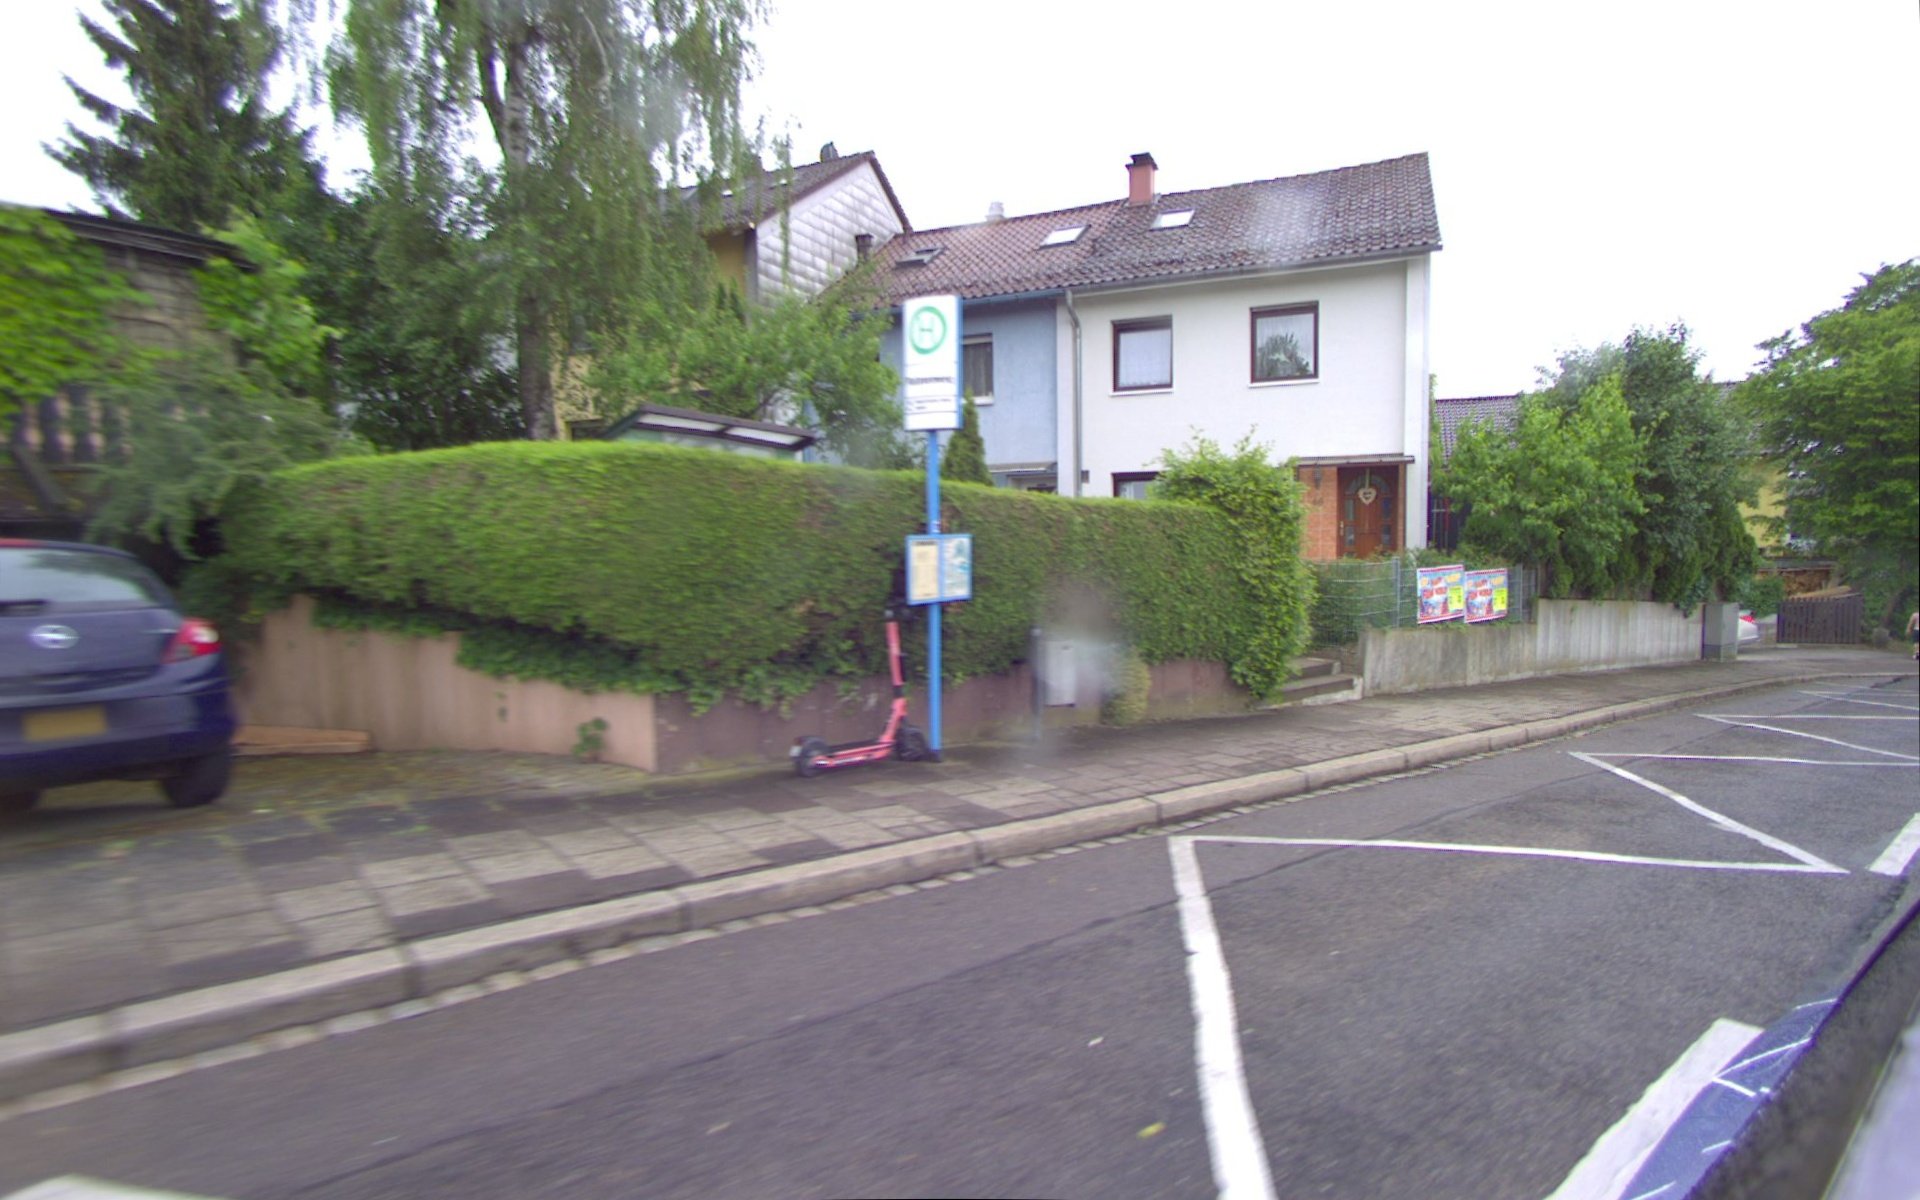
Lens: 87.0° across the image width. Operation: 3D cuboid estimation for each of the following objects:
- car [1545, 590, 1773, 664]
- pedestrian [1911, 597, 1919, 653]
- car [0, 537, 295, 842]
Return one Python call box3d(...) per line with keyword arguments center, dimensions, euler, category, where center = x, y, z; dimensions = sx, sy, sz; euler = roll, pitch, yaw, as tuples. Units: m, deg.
box3d(center=(18.405, 0.715, 26.912), dimensions=(4.547, 1.438, 1.778), euler=(-6, -1, 21), category="car")
box3d(center=(24.048, 0.618, 25.022), dimensions=(0.633, 1.371, 0.605), euler=(1, 1, -32), category="pedestrian")
box3d(center=(-5.629, 0.527, 5.490), dimensions=(3.671, 1.314, 1.757), euler=(-5, -1, 27), category="car")
